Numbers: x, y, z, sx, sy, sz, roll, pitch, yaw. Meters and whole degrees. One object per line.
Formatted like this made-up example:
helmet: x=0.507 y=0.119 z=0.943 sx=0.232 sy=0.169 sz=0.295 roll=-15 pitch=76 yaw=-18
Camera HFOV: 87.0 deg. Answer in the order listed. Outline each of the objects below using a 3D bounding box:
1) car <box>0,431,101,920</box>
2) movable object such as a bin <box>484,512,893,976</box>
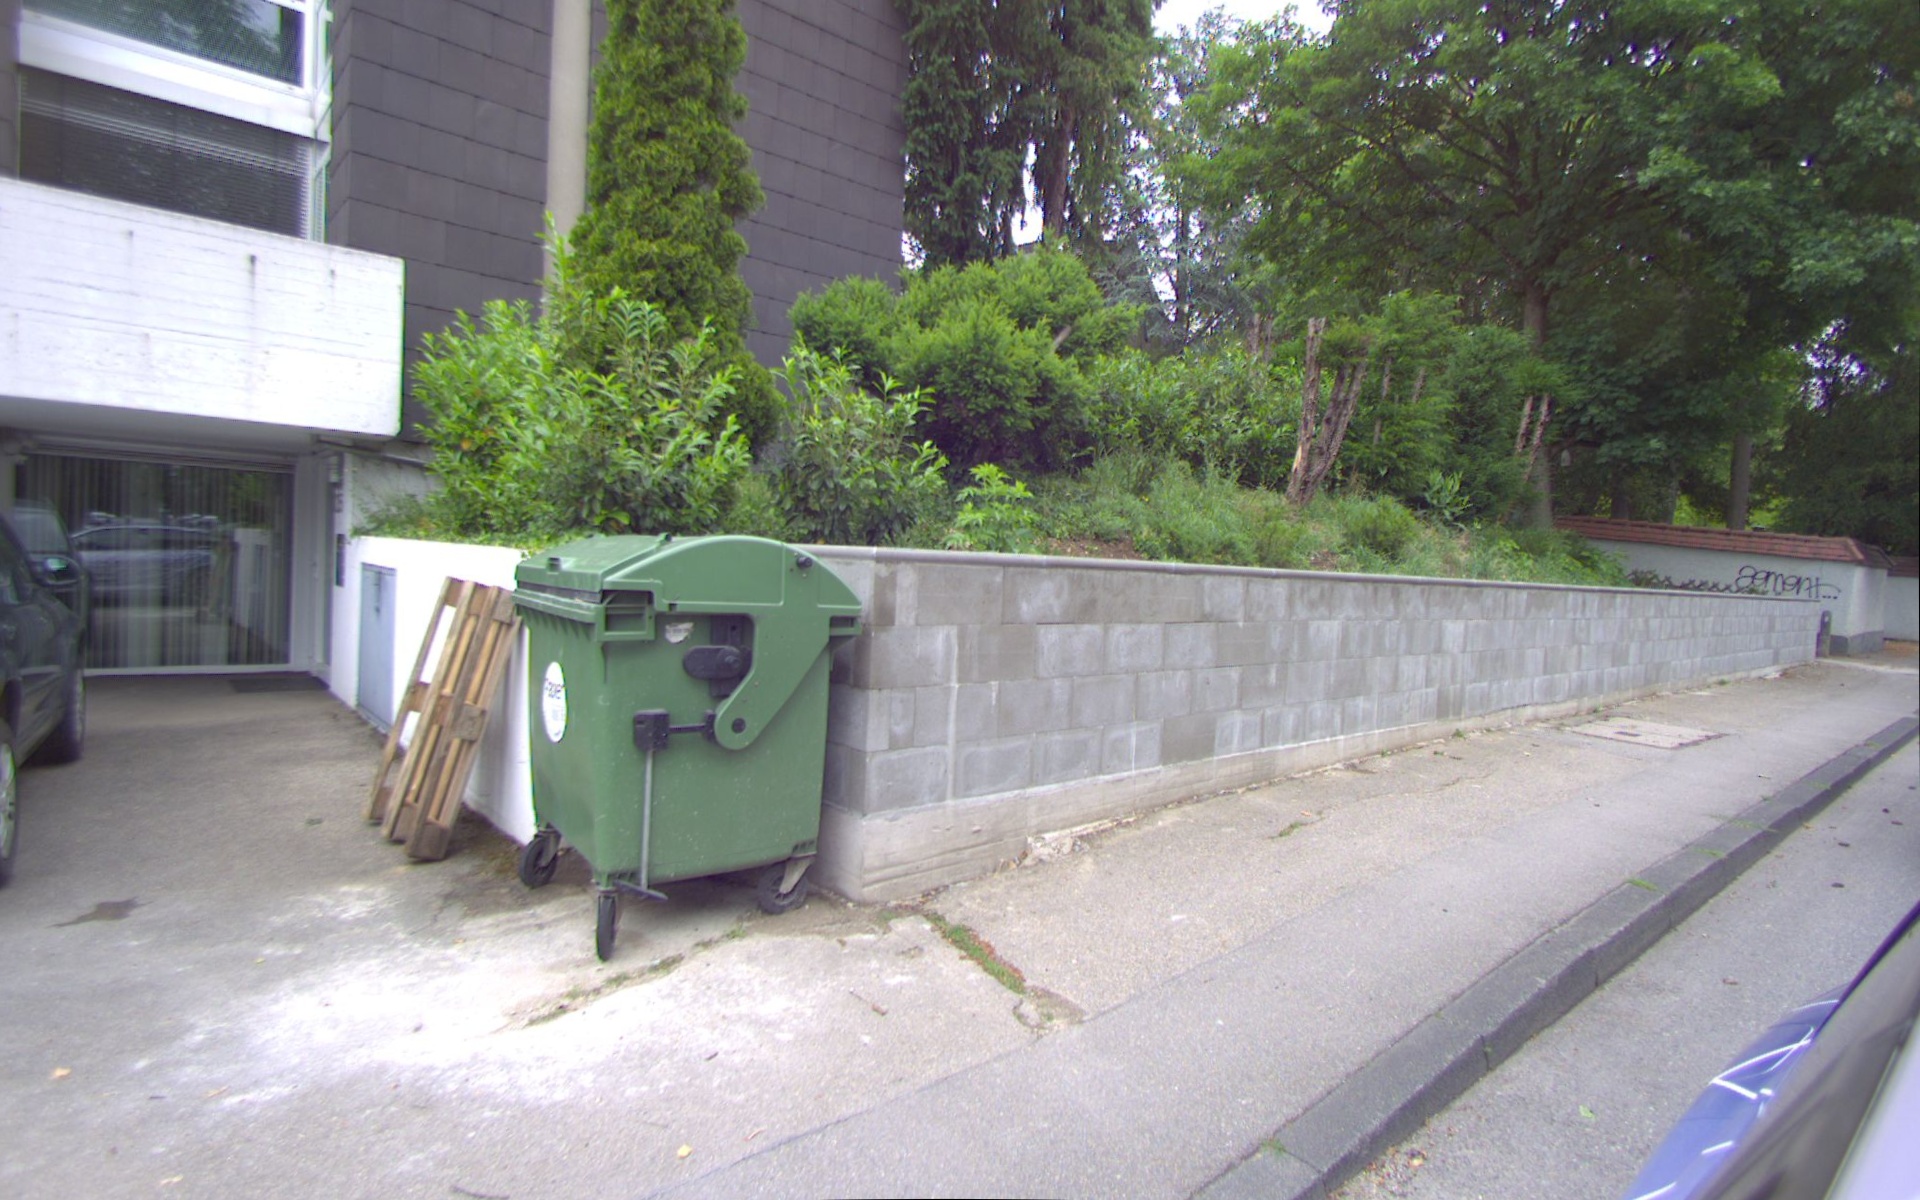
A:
car: x=-5.004 y=0.152 z=4.358 sx=1.712 sy=1.671 sz=3.914 roll=0 pitch=4 yaw=-36
movable object such as a bin: x=-1.140 y=0.418 z=4.083 sx=1.096 sy=1.469 sz=1.407 roll=0 pitch=3 yaw=-40
